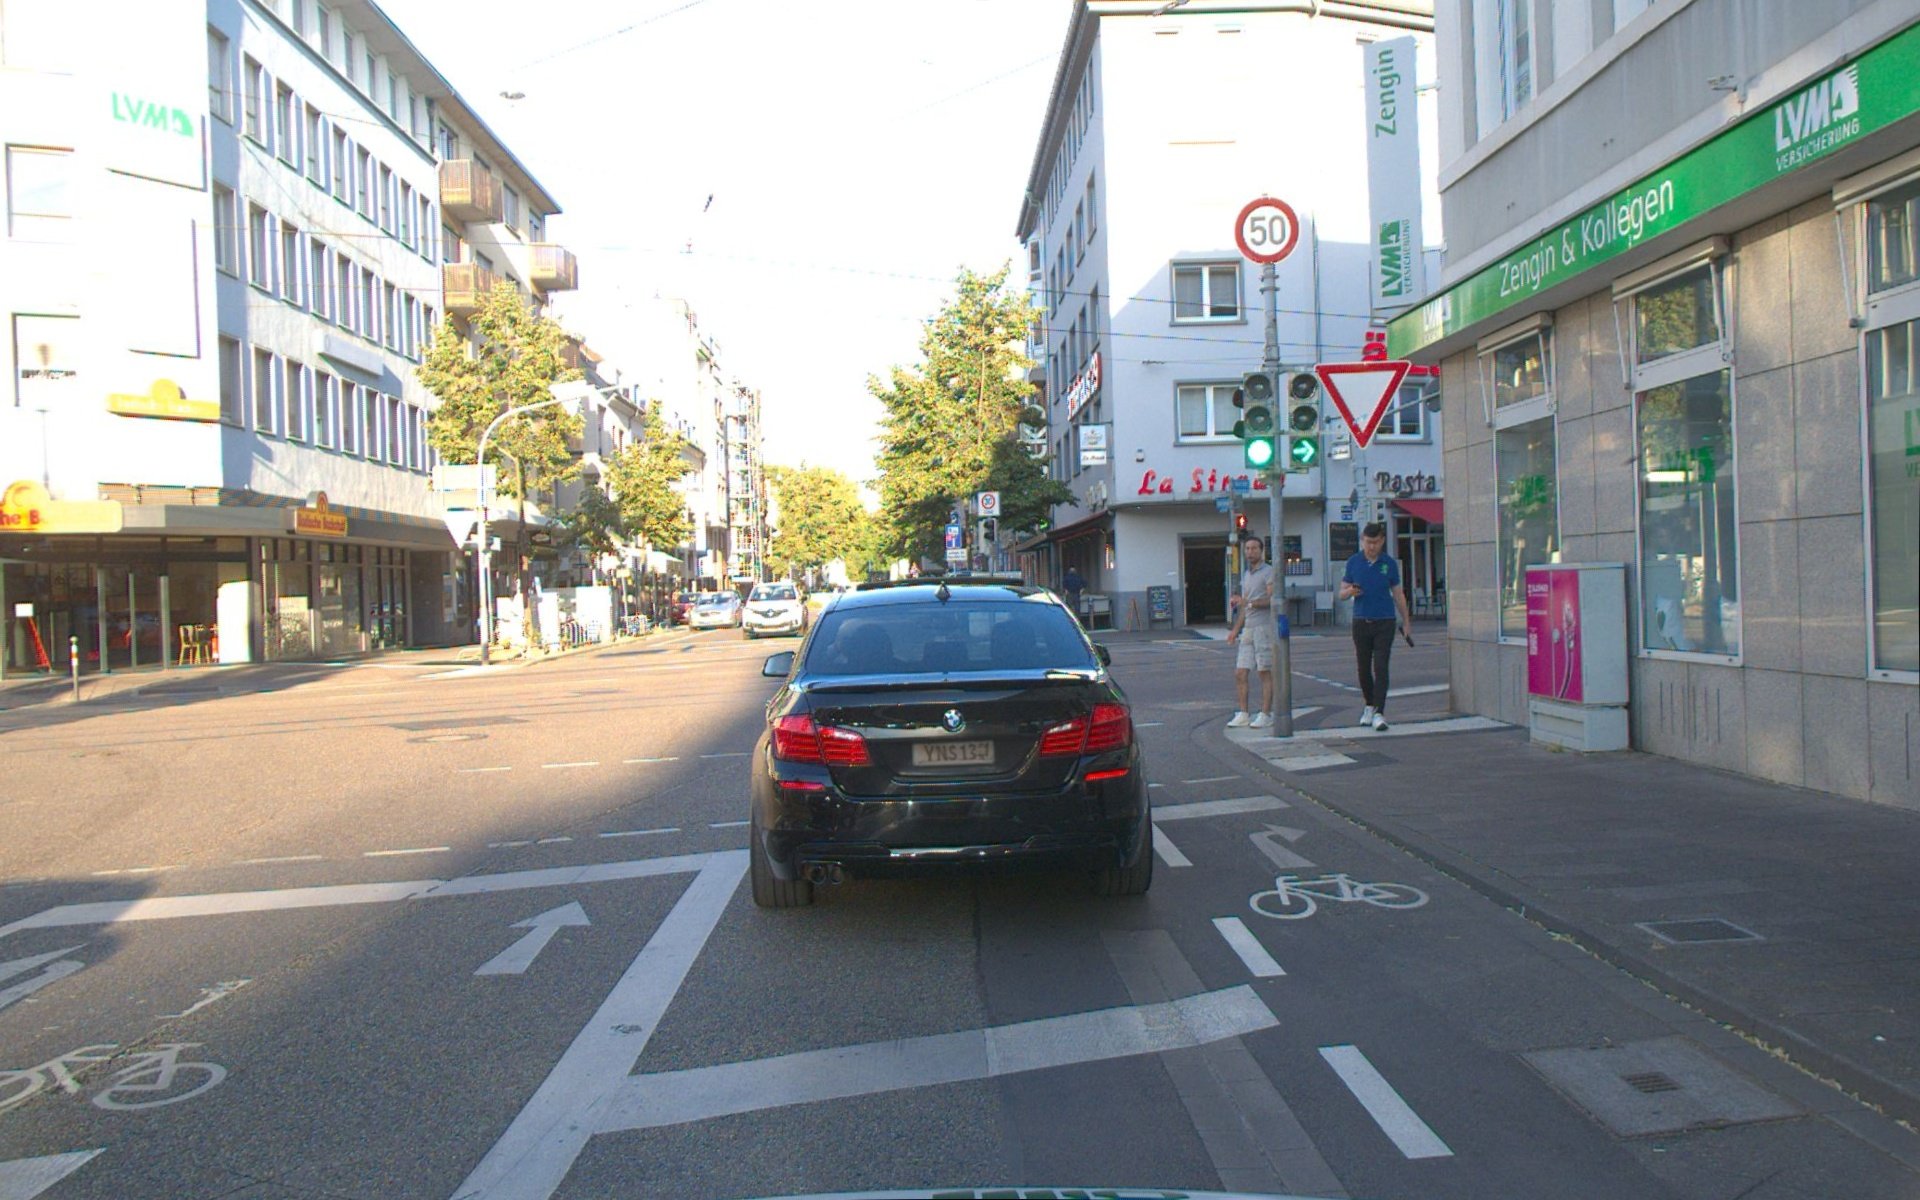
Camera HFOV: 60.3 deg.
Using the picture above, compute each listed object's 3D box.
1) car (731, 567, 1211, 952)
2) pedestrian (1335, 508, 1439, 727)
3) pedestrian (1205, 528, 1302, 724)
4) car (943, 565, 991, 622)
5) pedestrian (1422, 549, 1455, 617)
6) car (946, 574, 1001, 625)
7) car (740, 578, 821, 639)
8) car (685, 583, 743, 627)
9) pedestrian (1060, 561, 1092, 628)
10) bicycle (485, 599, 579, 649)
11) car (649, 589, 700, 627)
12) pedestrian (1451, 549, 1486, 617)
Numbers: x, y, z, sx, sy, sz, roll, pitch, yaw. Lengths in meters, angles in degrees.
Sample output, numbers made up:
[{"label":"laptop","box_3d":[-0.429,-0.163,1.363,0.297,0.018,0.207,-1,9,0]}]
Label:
[{"label":"car","box_3d":[0.019,0.615,8.847,1.914,1.524,4.464,0,0,-1]},{"label":"pedestrian","box_3d":[3.795,0.150,14.758,0.676,1.859,0.881,-3,0,4]},{"label":"pedestrian","box_3d":[2.749,0.234,15.528,0.640,1.772,0.692,-2,0,-10]},{"label":"car","box_3d":[0.260,-0.261,57.981,1.606,1.906,3.607,1,1,1]},{"label":"pedestrian","box_3d":[12.813,-0.460,44.302,0.626,1.810,0.597,-1,1,40]},{"label":"car","box_3d":[0.423,-0.038,51.313,1.606,1.469,3.607,-2,1,1]},{"label":"car","box_3d":[-5.152,0.235,48.050,2.066,1.583,4.010,-3,0,-4]},{"label":"car","box_3d":[-9.372,0.170,63.253,1.798,1.583,3.777,-2,1,-4]},{"label":"pedestrian","box_3d":[3.015,-0.150,42.948,0.697,1.705,0.703,-2,1,-3]},{"label":"bicycle","box_3d":[-11.350,0.634,43.898,2.321,1.275,0.639,-1,0,-7]},{"label":"car","box_3d":[-13.043,0.361,75.696,1.798,1.583,3.777,-3,0,-4]},{"label":"pedestrian","box_3d":[13.464,-0.452,43.819,0.626,1.775,0.665,-1,1,41]}]
